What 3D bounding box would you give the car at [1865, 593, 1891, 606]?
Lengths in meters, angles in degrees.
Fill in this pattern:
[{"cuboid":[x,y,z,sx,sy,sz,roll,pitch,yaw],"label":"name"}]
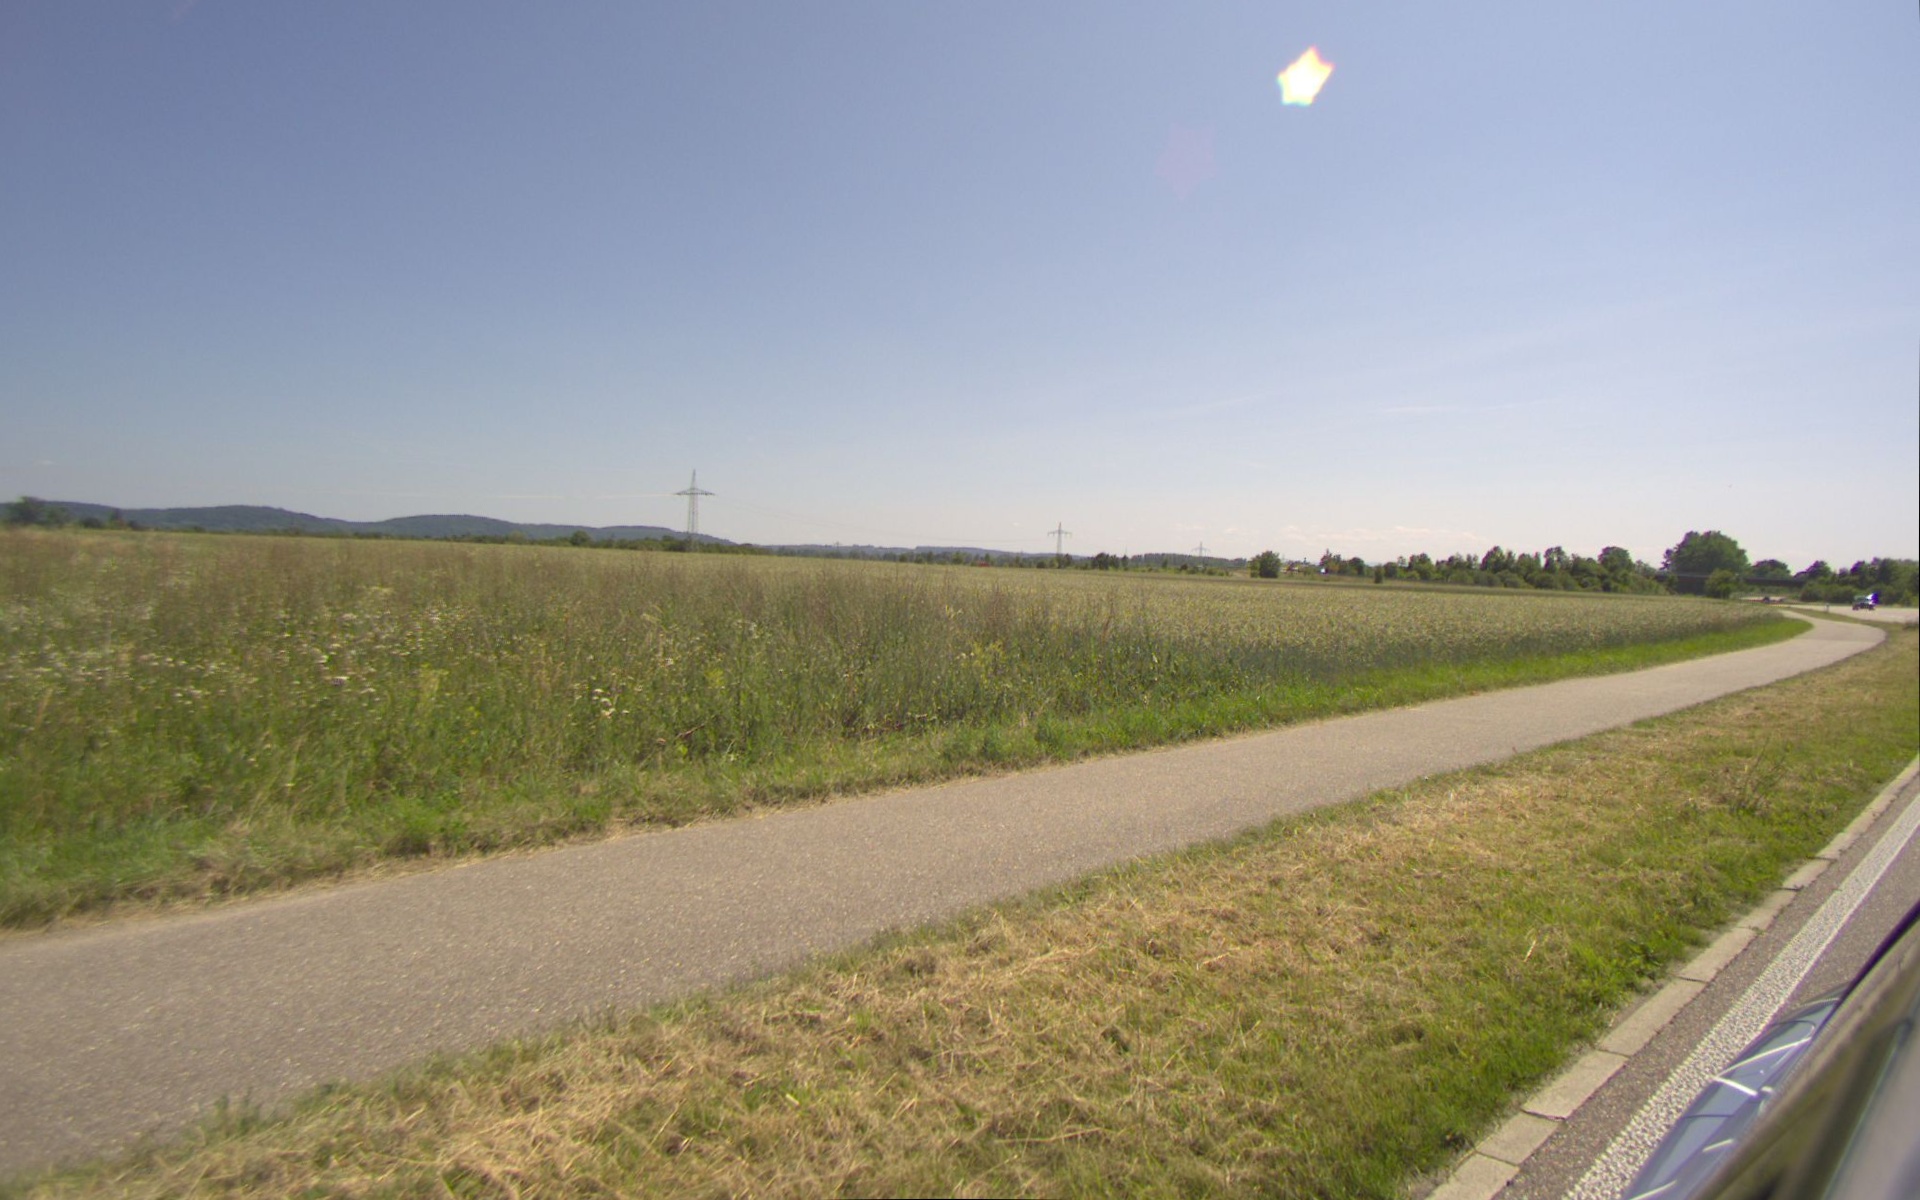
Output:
[{"cuboid":[113.089,-0.081,124.706,1.975,1.616,5.326,2,1,39],"label":"car"}]
